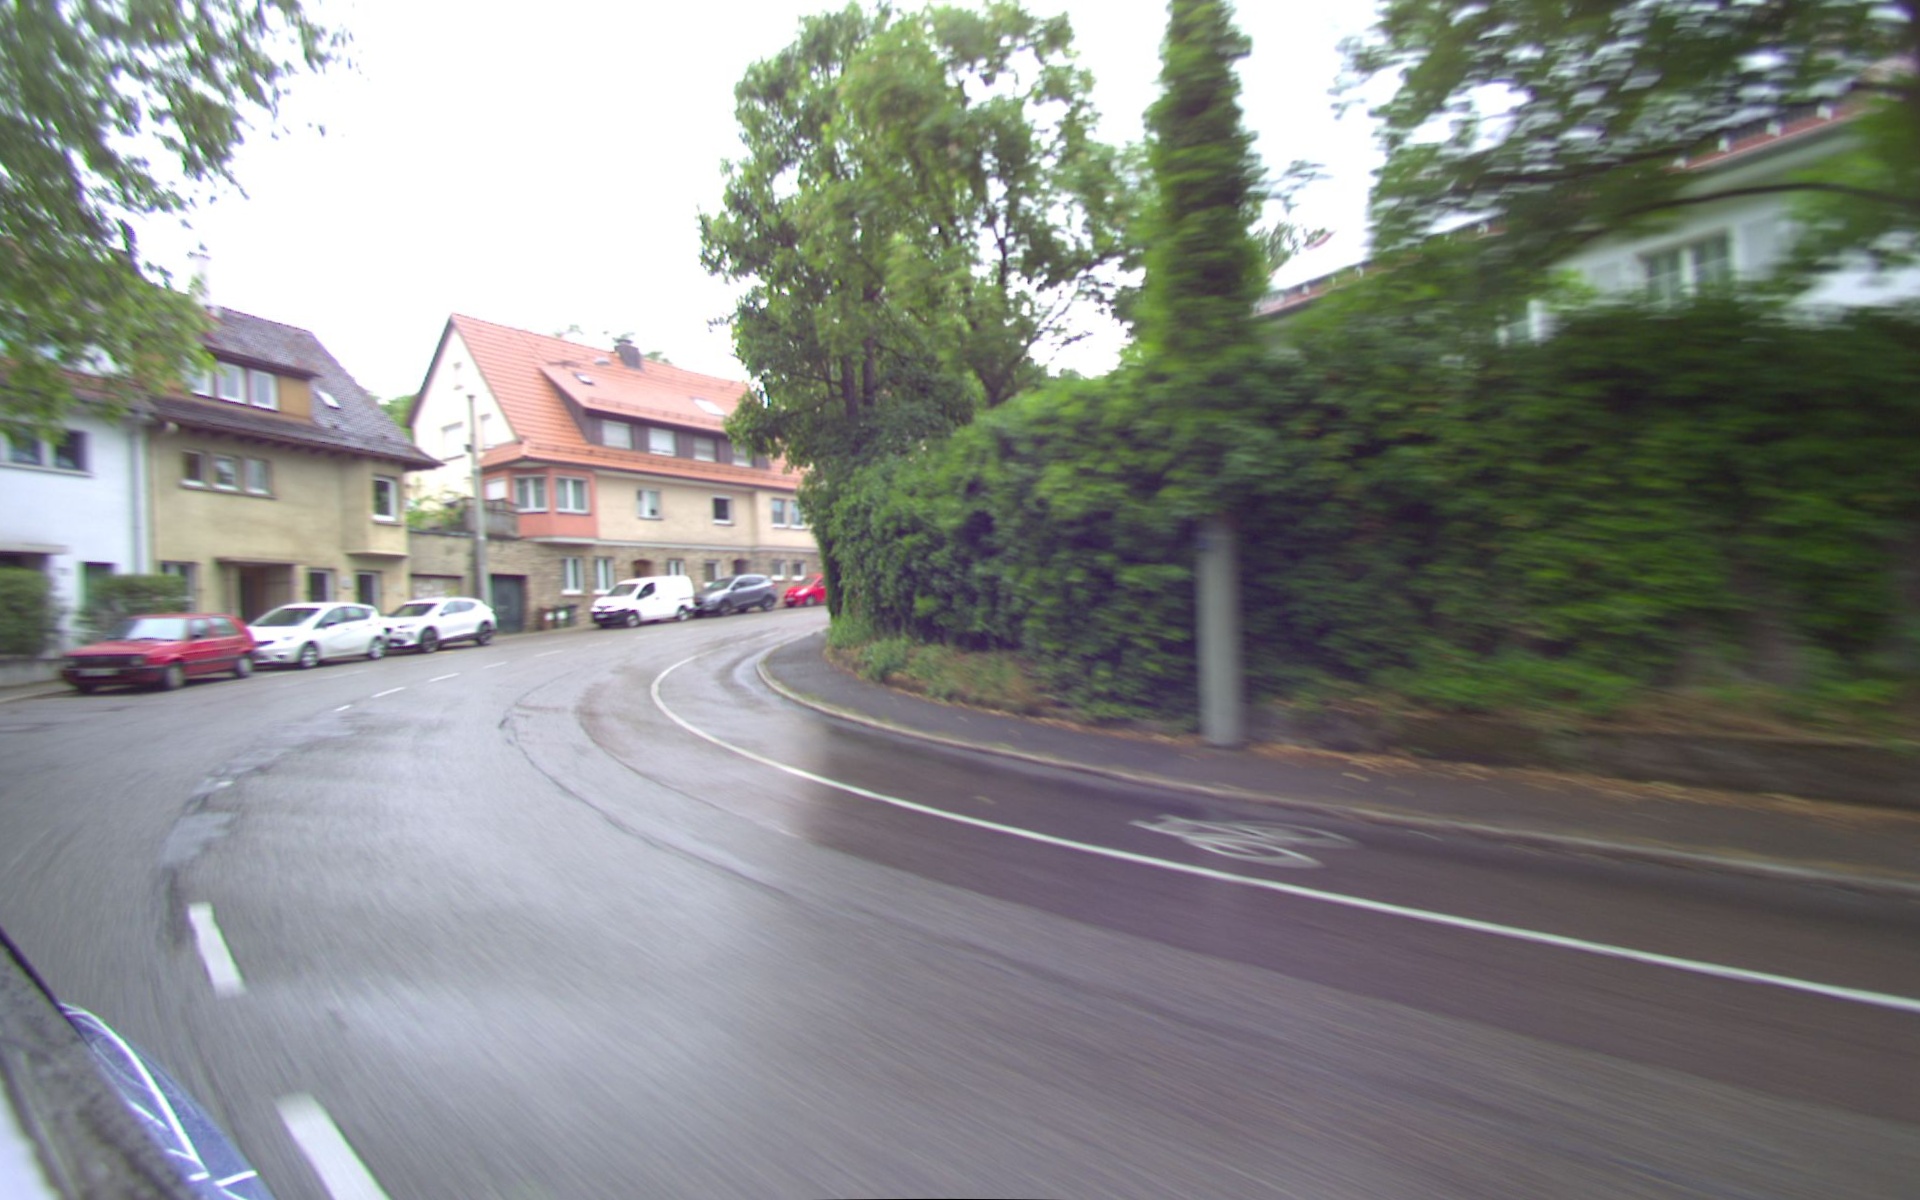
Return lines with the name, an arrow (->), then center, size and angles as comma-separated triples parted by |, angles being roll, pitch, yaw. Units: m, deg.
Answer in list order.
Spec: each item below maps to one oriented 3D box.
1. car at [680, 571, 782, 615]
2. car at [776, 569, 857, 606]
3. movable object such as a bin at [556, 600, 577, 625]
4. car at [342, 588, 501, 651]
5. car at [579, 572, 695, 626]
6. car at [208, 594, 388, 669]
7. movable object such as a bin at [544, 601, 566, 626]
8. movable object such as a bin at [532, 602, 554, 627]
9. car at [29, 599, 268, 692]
car -> -9.851, -0.325, 43.824 | 1.615, 1.616, 4.363 | -3, 2, 33
car -> -6.785, -0.622, 48.176 | 1.619, 1.446, 3.534 | -2, 3, 41
movable object such as a bin -> -15.416, 0.473, 39.651 | 0.580, 0.928, 0.507 | 0, 3, 34
car -> -15.471, 0.516, 29.385 | 1.897, 1.550, 4.406 | -2, 2, 7
car -> -12.546, -0.080, 39.553 | 1.702, 1.804, 4.288 | -4, 1, 27
car -> -15.892, 0.686, 24.552 | 1.747, 1.526, 3.821 | -2, 2, 2
movable object such as a bin -> -15.698, 0.529, 39.228 | 0.580, 0.928, 0.507 | 0, 3, 34
movable object such as a bin -> -15.980, 0.552, 38.762 | 0.580, 0.928, 0.507 | 0, 3, 34
car -> -15.459, 0.779, 19.600 | 1.757, 1.377, 4.206 | -3, 3, -10
